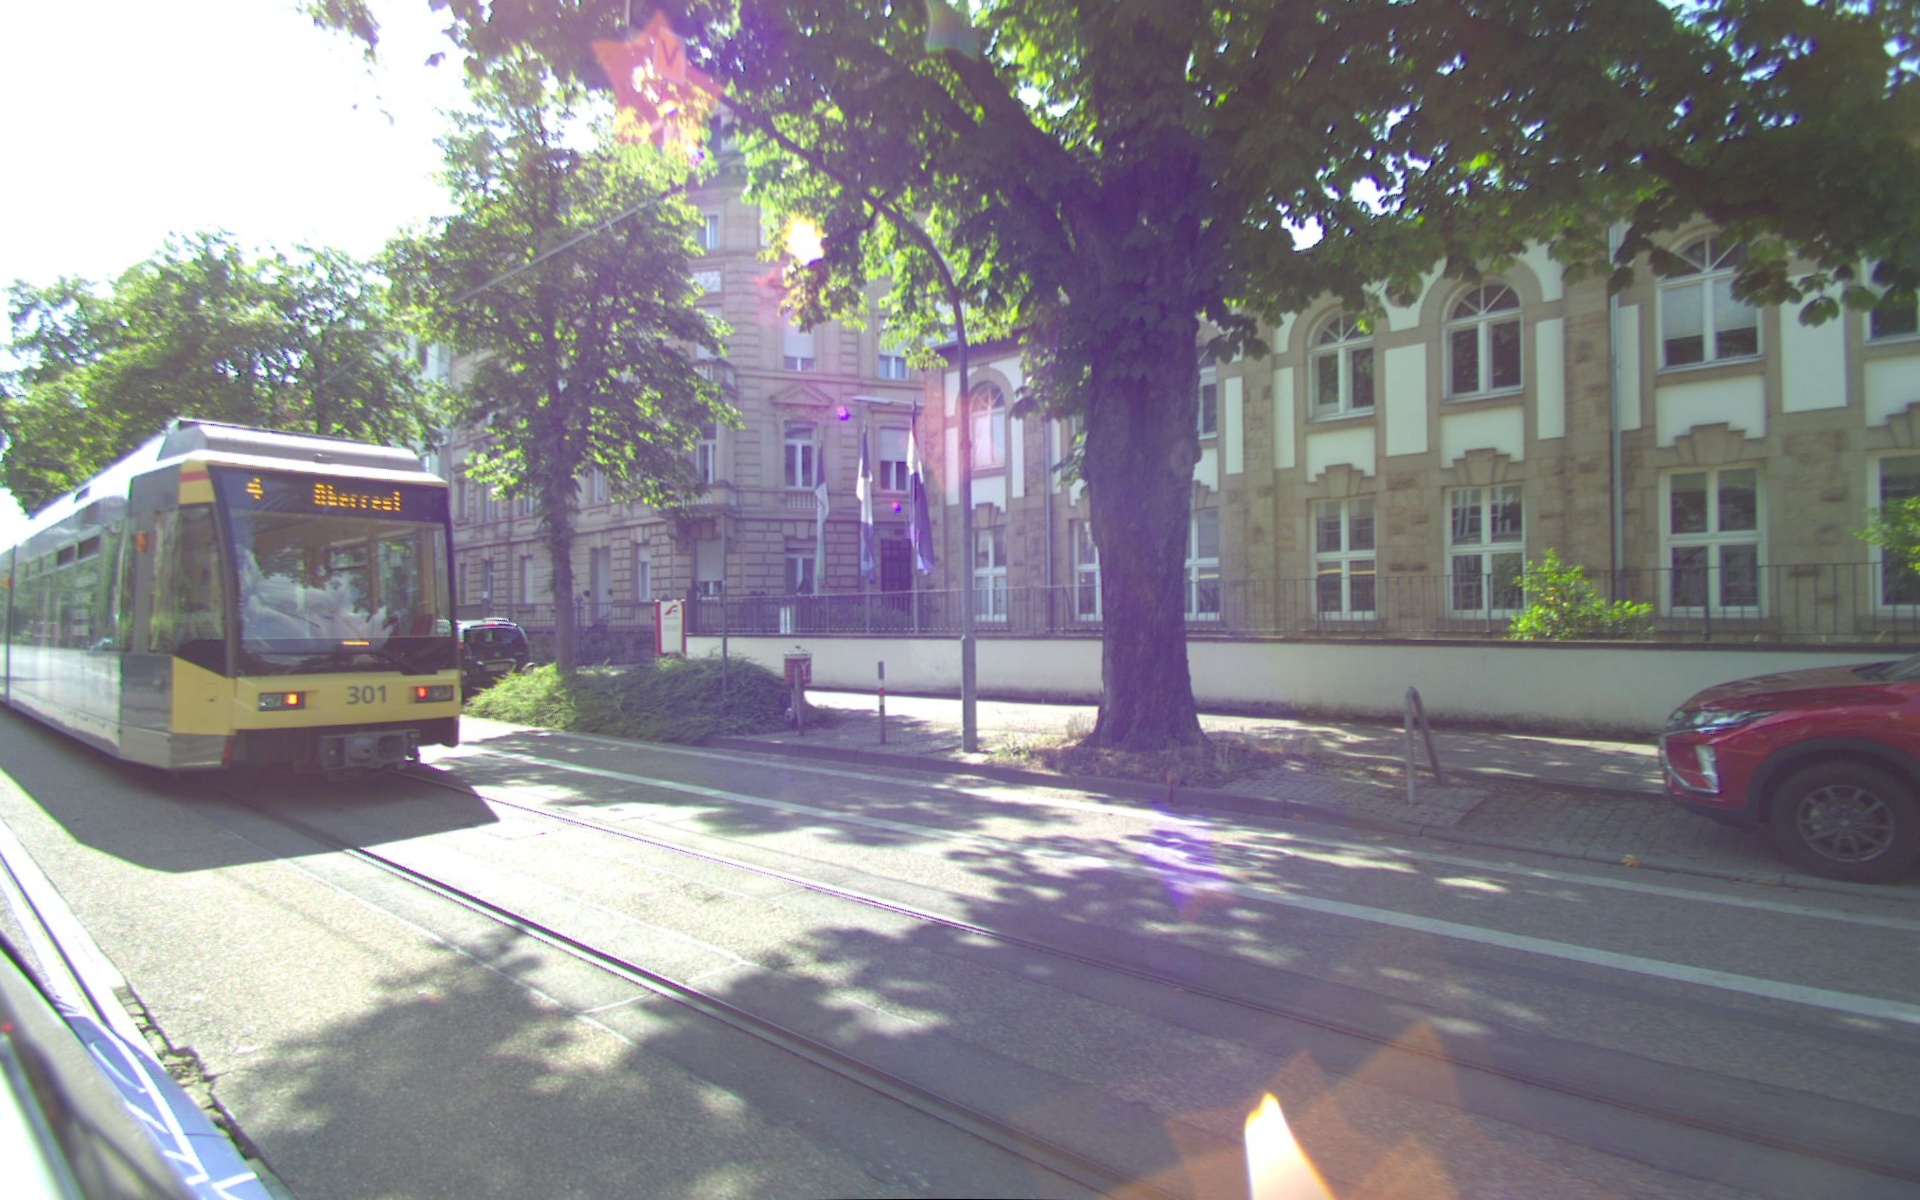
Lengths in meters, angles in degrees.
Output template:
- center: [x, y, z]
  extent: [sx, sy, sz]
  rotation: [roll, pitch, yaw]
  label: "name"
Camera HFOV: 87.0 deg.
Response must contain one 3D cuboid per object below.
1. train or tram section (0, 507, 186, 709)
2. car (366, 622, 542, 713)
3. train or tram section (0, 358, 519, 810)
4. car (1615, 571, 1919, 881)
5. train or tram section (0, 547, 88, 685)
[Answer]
- center: [-19.727, 0.287, 21.875]
  extent: [11.470, 3.415, 2.624]
  rotation: [-1, -4, 42]
  label: "train or tram section"
- center: [-10.644, 1.326, 21.162]
  extent: [4.330, 1.653, 1.788]
  rotation: [-1, 0, 41]
  label: "car"
- center: [-10.298, 0.043, 13.297]
  extent: [14.105, 3.382, 2.624]
  rotation: [-1, -4, 42]
  label: "train or tram section"
- center: [6.492, 0.652, 5.494]
  extent: [4.718, 1.678, 1.732]
  rotation: [-1, 0, 41]
  label: "car"
- center: [-28.472, 0.517, 29.808]
  extent: [12.312, 3.463, 2.624]
  rotation: [-1, -3, 42]
  label: "train or tram section"
